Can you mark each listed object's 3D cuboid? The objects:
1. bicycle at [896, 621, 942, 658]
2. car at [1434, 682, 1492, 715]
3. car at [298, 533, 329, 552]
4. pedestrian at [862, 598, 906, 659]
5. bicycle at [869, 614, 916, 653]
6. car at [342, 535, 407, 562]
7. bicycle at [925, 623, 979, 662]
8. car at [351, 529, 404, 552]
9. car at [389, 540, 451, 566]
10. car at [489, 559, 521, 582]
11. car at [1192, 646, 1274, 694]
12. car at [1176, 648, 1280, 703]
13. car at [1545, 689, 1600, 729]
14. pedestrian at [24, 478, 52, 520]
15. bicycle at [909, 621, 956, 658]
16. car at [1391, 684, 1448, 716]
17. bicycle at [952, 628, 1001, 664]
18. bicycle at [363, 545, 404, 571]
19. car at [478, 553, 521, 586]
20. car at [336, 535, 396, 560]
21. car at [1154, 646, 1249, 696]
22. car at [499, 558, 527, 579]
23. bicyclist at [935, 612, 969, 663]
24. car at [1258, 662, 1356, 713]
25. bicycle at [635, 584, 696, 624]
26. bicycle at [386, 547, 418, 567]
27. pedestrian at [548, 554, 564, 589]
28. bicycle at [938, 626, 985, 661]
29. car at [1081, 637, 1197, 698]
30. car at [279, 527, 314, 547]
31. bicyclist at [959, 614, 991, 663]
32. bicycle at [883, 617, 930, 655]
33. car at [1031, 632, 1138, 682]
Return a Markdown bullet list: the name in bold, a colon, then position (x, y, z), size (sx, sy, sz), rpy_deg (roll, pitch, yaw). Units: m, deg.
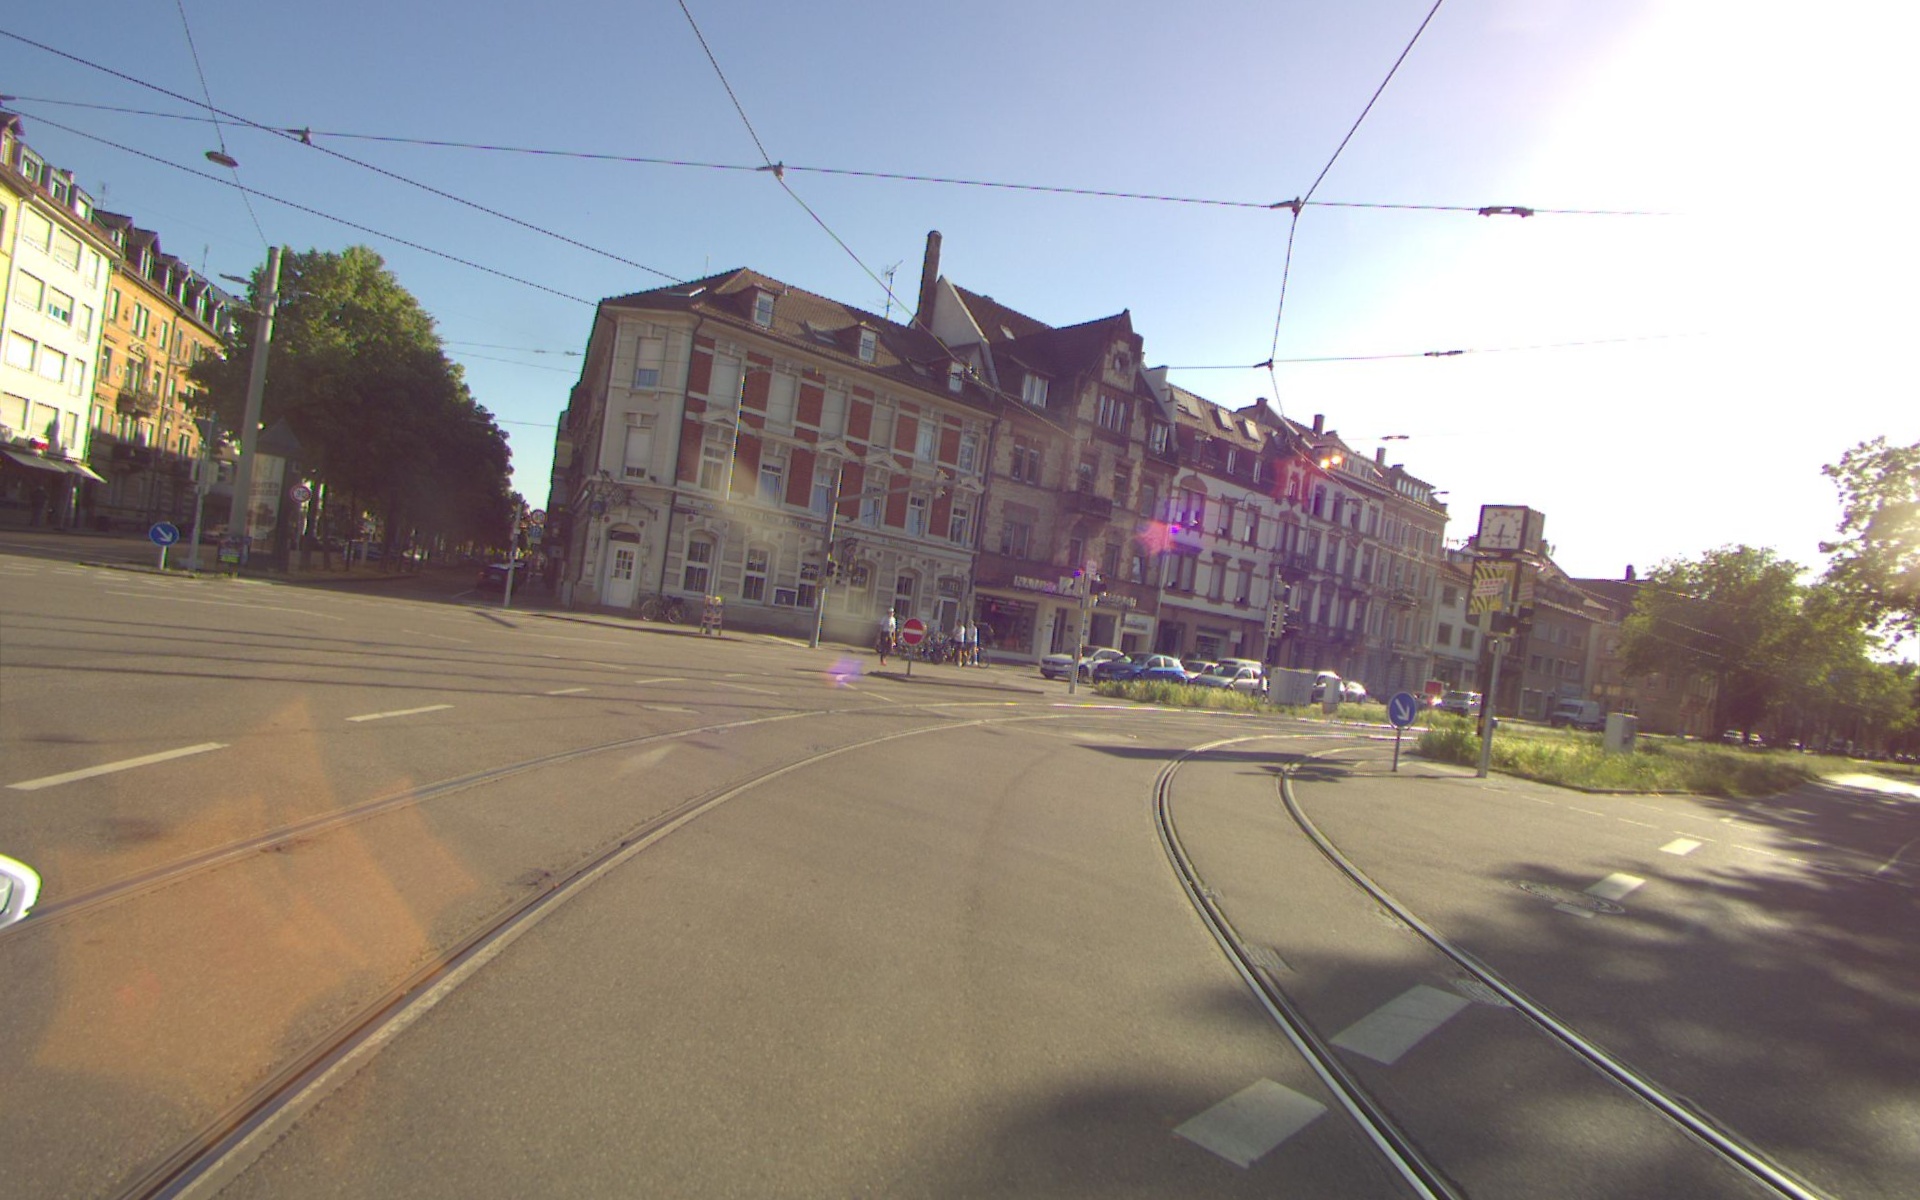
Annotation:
- **bicycle**: position (-1.619, 1.539, 39.351), size (0.674, 1.205, 1.946), rpy_deg (7, 0, -39)
- **car**: position (36.459, 7.154, 72.854), size (4.770, 1.884, 1.932), rpy_deg (8, 0, -41)
- **car**: position (-64.869, -5.747, 101.010), size (1.976, 1.515, 4.008), rpy_deg (8, 0, -26)
- **pedestrian**: position (-2.303, 0.869, 30.461), size (0.713, 1.690, 0.927), rpy_deg (7, 1, -45)
- **bicycle**: position (-2.603, 1.272, 38.452), size (0.674, 1.205, 1.946), rpy_deg (7, 0, -39)
- **car**: position (-47.264, -4.117, 81.300), size (3.936, 1.564, 1.995), rpy_deg (8, 0, -12)
- **bicycle**: position (-0.283, 1.585, 37.552), size (1.952, 1.205, 0.595), rpy_deg (8, 0, -38)
- **car**: position (-56.635, -5.814, 97.874), size (3.936, 1.564, 1.995), rpy_deg (8, 0, -12)
- **car**: position (-45.199, -3.936, 84.261), size (3.933, 1.564, 1.996), rpy_deg (8, 0, -10)
- **car**: position (-36.242, -2.380, 80.174), size (1.974, 1.515, 4.012), rpy_deg (8, 0, -22)
- **car**: position (14.585, 3.740, 53.633), size (4.388, 1.988, 1.932), rpy_deg (8, 0, -41)
- **car**: position (10.710, 3.043, 40.102), size (3.973, 1.688, 1.932), rpy_deg (8, 0, -41)
- **car**: position (53.675, 9.556, 88.078), size (5.918, 2.944, 2.177), rpy_deg (8, 0, -41)
- **pedestrian**: position (-45.181, -4.945, 49.284), size (0.675, 1.932, 0.629), rpy_deg (7, 1, -24)
- **bicycle**: position (-1.101, 1.566, 39.781), size (0.674, 1.205, 1.946), rpy_deg (7, 0, -39)
- **car**: position (31.356, 6.824, 68.657), size (3.973, 1.688, 1.932), rpy_deg (8, 0, -41)
- **bicycle**: position (0.659, 1.814, 39.525), size (0.594, 1.205, 1.956), rpy_deg (8, 0, 45)
- **bicycle**: position (-30.389, -2.231, 53.015), size (1.912, 1.080, 0.584), rpy_deg (8, 0, 14)
- **car**: position (-25.866, -1.732, 56.451), size (1.976, 1.515, 4.008), rpy_deg (8, 0, -26)
- **car**: position (-52.230, -4.562, 88.529), size (3.936, 1.564, 1.995), rpy_deg (8, 0, -12)
- **car**: position (10.581, 3.118, 43.944), size (3.973, 1.688, 1.932), rpy_deg (8, 0, -41)
- **car**: position (-39.424, -2.777, 88.727), size (1.974, 1.515, 4.012), rpy_deg (8, 0, -22)
- **bicyclist**: position (-0.306, 1.391, 37.508), size (0.868, 1.785, 0.595), rpy_deg (7, 1, -38)
- **car**: position (15.170, 3.828, 43.832), size (4.456, 1.688, 1.932), rpy_deg (8, 0, -41)
- **bicycle**: position (-10.733, 0.166, 36.668), size (1.950, 1.205, 0.541), rpy_deg (8, 0, -36)
- **bicycle**: position (-37.785, -2.885, 68.122), size (1.912, 1.080, 0.584), rpy_deg (8, 0, 14)
- **pedestrian**: position (-20.570, -1.454, 51.227), size (0.584, 1.657, 0.577), rpy_deg (7, -7, -21)
- **bicycle**: position (0.079, 1.739, 40.282), size (0.669, 1.205, 1.960), rpy_deg (8, 0, 38)
- **car**: position (6.538, 2.484, 36.607), size (3.973, 1.688, 1.932), rpy_deg (8, 0, -41)
- **car**: position (-60.563, -5.732, 91.835), size (1.976, 1.515, 4.008), rpy_deg (8, 0, -26)
- **bicyclist**: position (0.577, 1.516, 39.517), size (0.901, 1.785, 0.594), rpy_deg (7, 1, -45)
- **bicycle**: position (-2.097, 1.385, 38.928), size (0.674, 1.205, 1.946), rpy_deg (7, 0, -39)
- **car**: position (4.846, 2.214, 38.971), size (3.973, 1.429, 1.824), rpy_deg (9, -1, -41)
